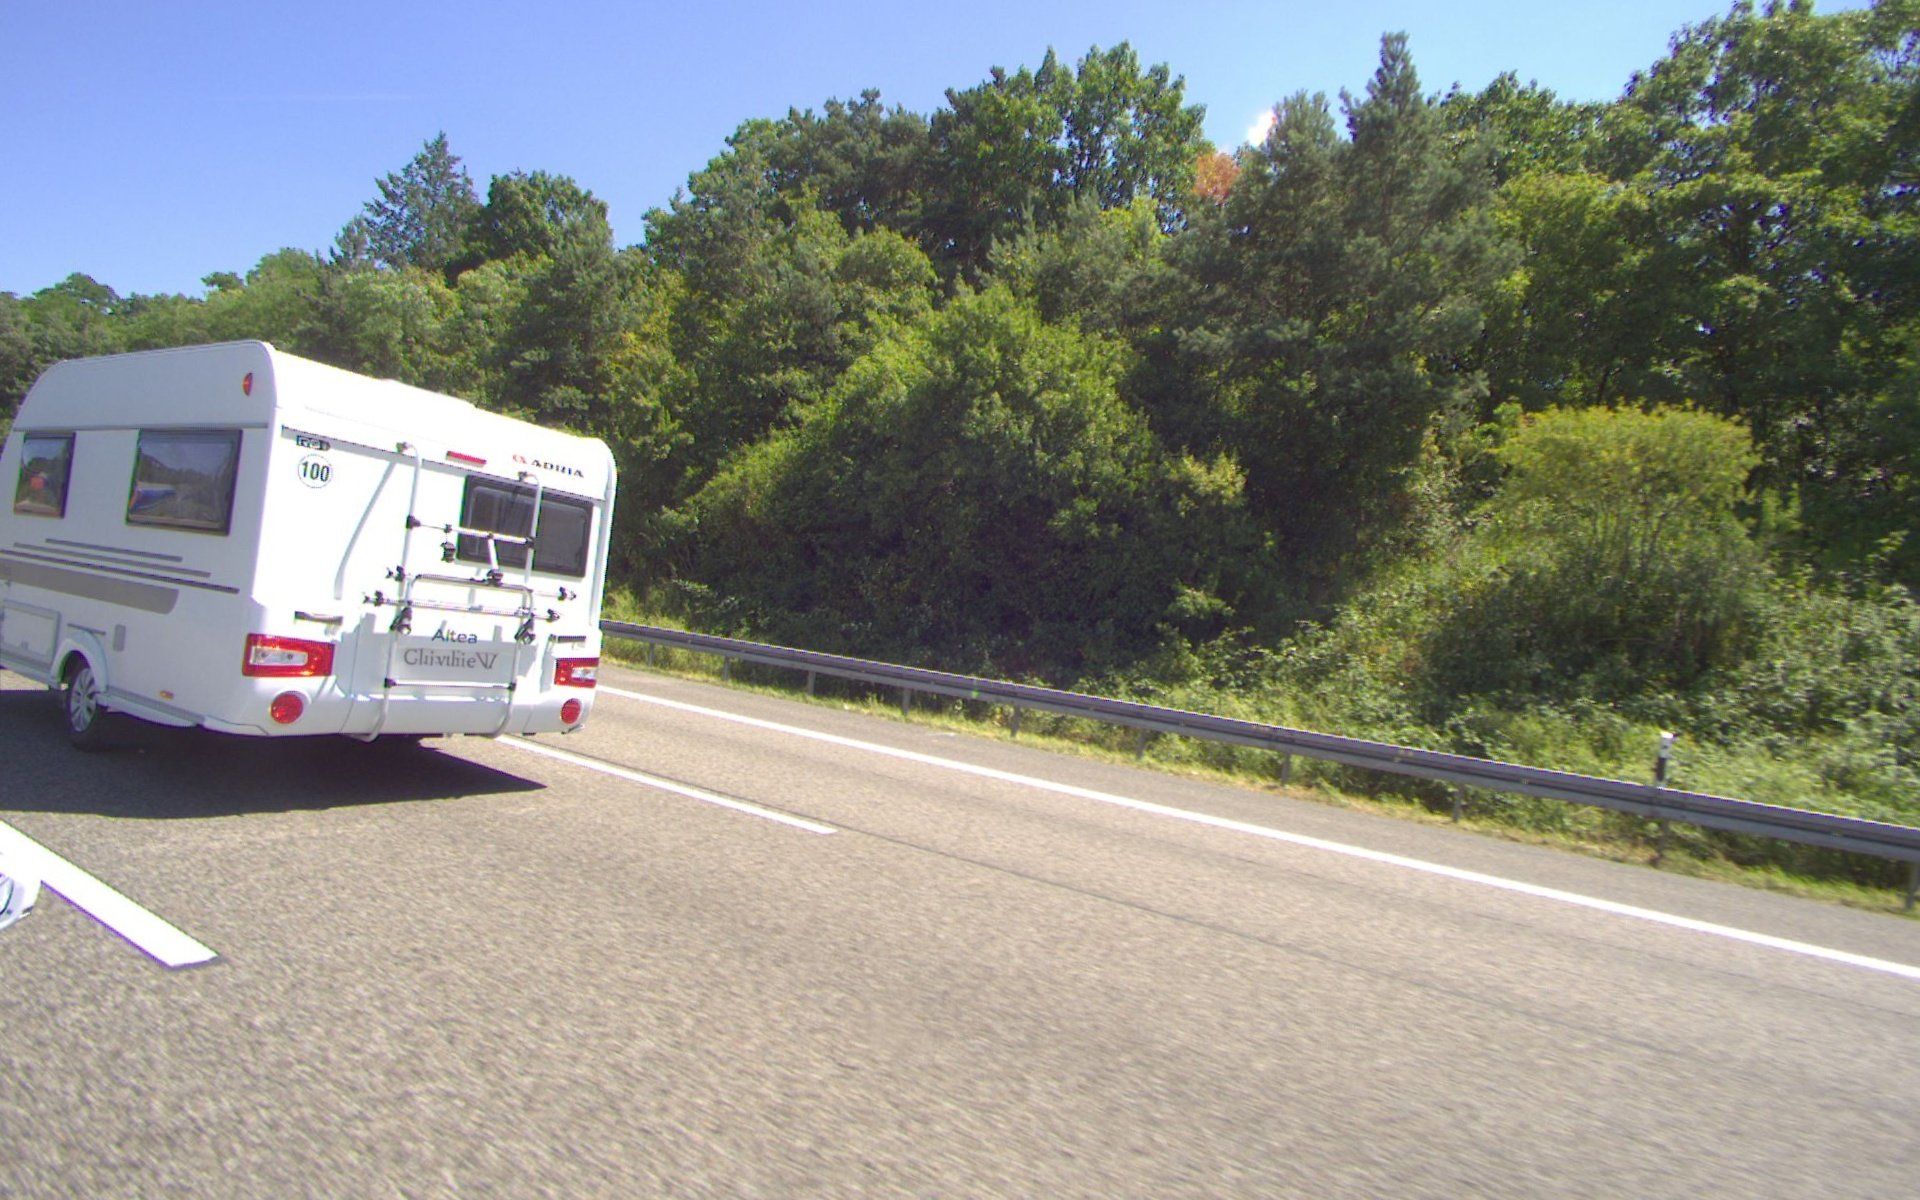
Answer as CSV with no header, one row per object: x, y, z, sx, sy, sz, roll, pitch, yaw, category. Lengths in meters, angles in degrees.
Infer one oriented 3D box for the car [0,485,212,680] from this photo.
-9.916,-0.326,10.337,4.624,1.631,1.882,6,-1,32,car

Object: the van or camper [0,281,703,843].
-5.168,-0.391,7.513,6.245,2.708,2.442,7,0,32,van or camper
